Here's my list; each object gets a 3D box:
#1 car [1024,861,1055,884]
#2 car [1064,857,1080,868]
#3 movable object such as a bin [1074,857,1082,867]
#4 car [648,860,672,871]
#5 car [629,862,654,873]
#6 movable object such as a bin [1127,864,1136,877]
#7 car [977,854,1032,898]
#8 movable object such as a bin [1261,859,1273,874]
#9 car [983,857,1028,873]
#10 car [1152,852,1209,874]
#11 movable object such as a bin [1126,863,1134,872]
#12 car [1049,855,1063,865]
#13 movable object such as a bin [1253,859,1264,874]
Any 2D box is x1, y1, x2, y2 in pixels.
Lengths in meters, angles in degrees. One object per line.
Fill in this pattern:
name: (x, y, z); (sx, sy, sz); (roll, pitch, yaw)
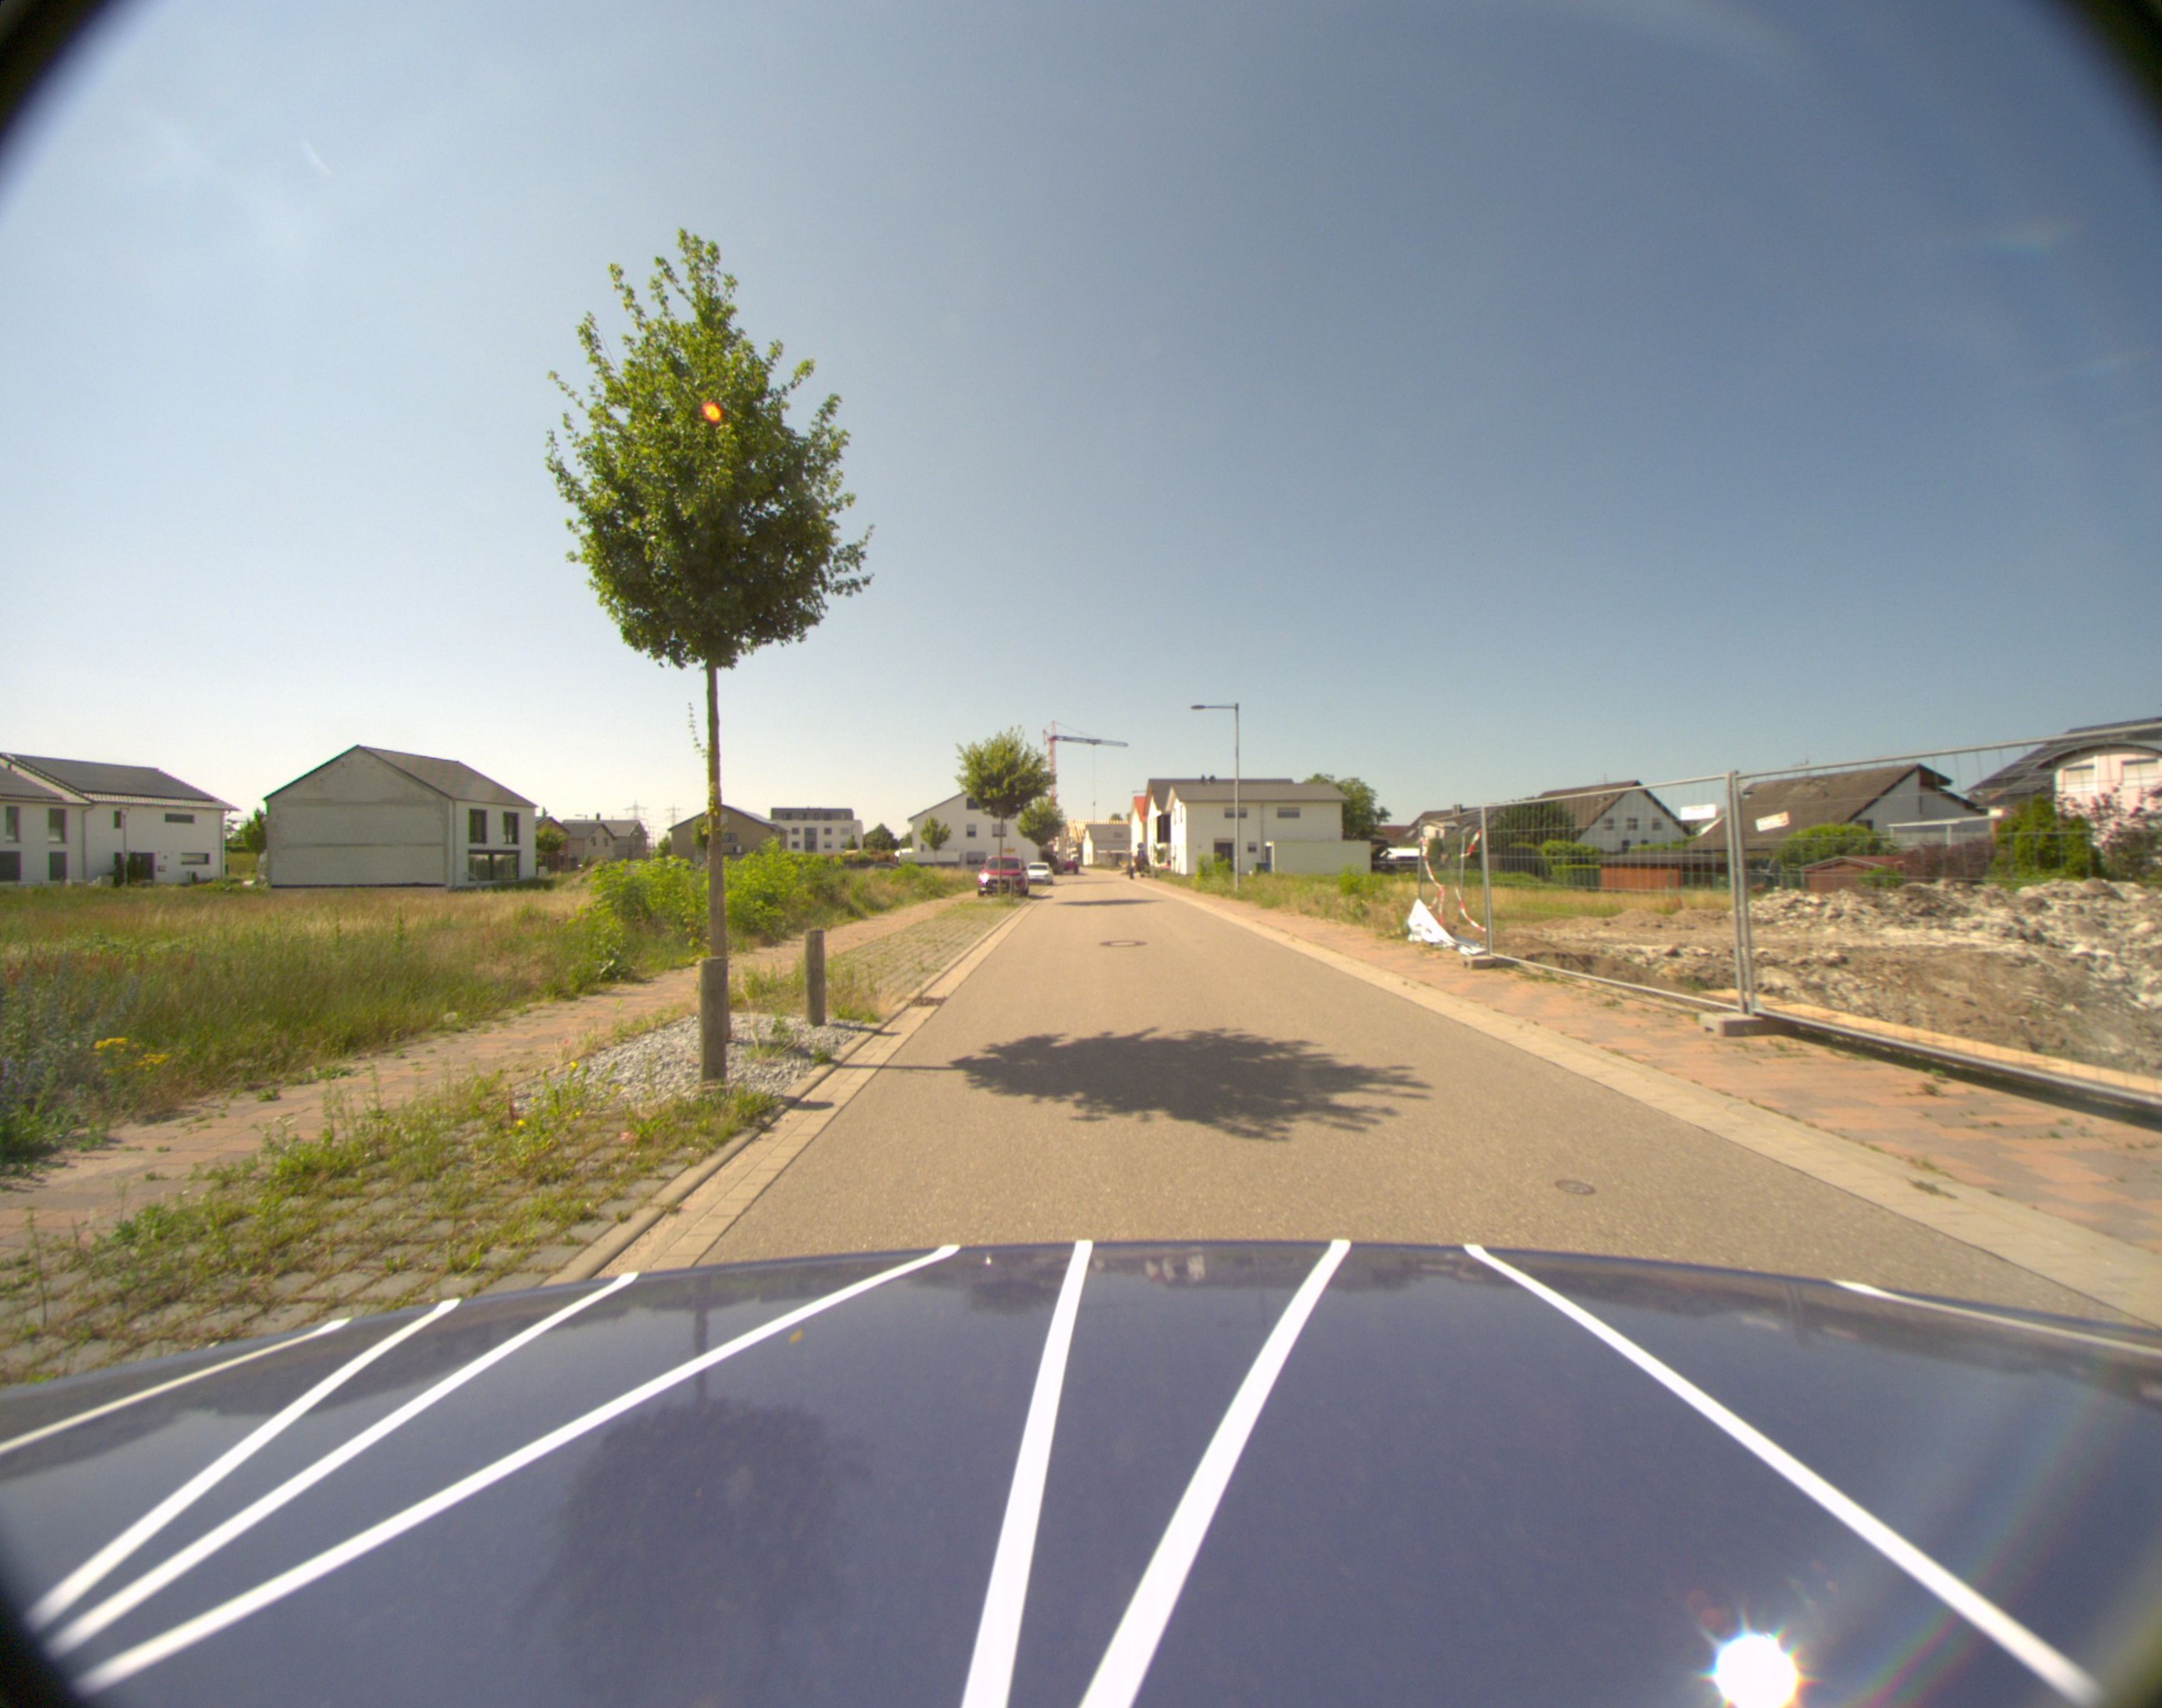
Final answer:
car: (-2.701, 1.210, 50.704); (1.780, 1.411, 4.166); (1, -1, 1)
car: (-1.246, 1.124, 104.237); (1.912, 1.470, 3.998); (-1, 1, -4)
movable object such as a bin: (-0.317, 0.872, 86.063); (0.823, 1.058, 0.589); (-1, 1, -4)
car: (-61.309, 1.625, 110.737); (1.750, 1.493, 3.997); (0, 0, -9)
car: (-60.391, 1.833, 104.420); (1.667, 1.392, 3.917); (0, 0, -9)
movable object such as a bin: (3.991, 1.290, 59.622); (0.625, 0.943, 0.500); (-1, 1, -4)
car: (-3.004, 0.847, 30.605); (1.781, 1.653, 4.434); (1, -1, 0)
movable object such as a bin: (13.430, 0.880, 54.947); (0.671, 1.092, 0.808); (0, 0, 1)
car: (-7.553, 1.121, 76.626); (4.348, 1.549, 1.960); (-1, -1, -2)
car: (8.858, 0.777, 67.811); (4.749, 1.864, 1.938); (0, 0, -3)
movable object such as a bin: (4.931, 1.333, 76.477); (0.618, 0.931, 0.564); (-1, 0, -4)
car: (-4.095, 0.995, 123.687); (1.804, 1.609, 3.672); (-1, 1, -10)
movable object such as a bin: (12.803, 0.889, 54.820); (0.661, 1.092, 0.785); (0, 0, -1)
